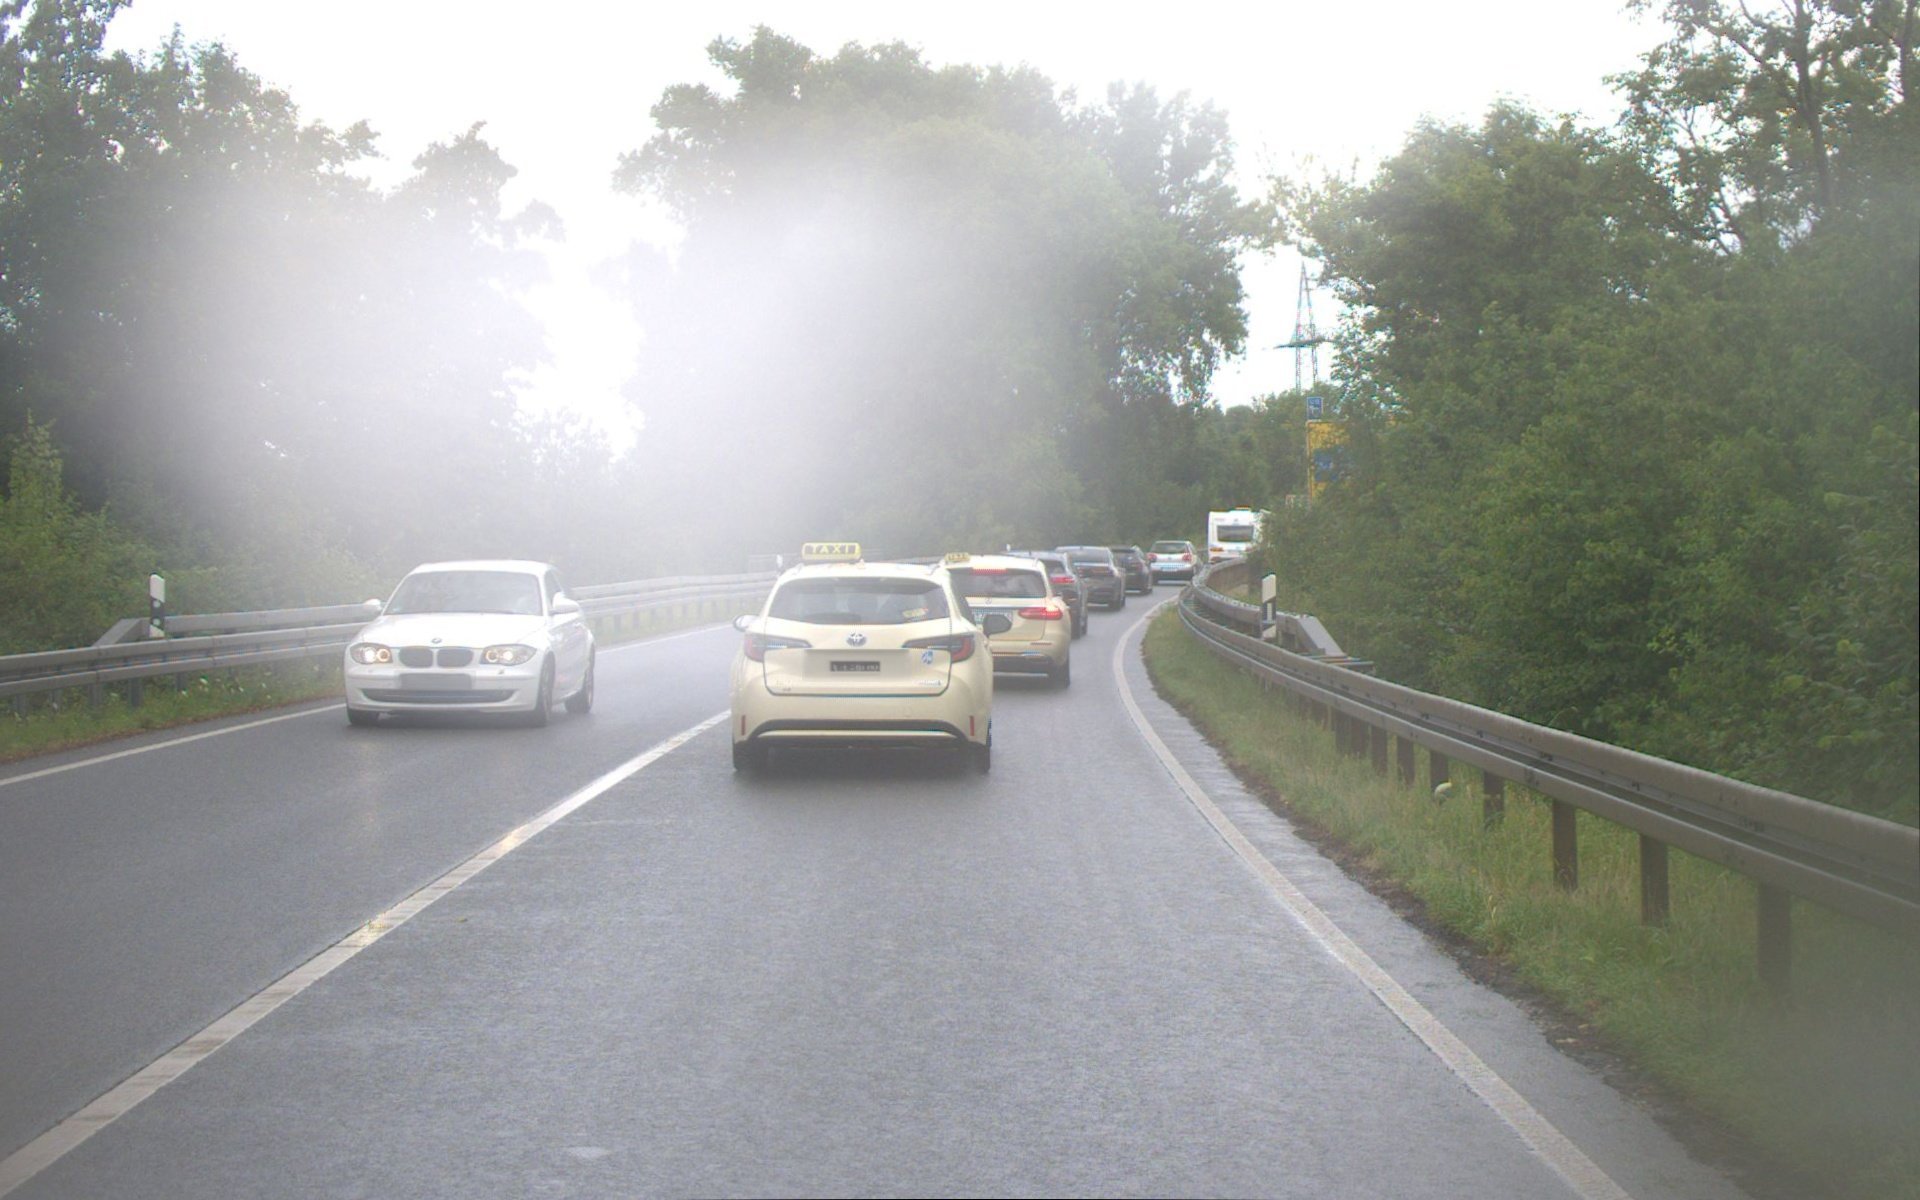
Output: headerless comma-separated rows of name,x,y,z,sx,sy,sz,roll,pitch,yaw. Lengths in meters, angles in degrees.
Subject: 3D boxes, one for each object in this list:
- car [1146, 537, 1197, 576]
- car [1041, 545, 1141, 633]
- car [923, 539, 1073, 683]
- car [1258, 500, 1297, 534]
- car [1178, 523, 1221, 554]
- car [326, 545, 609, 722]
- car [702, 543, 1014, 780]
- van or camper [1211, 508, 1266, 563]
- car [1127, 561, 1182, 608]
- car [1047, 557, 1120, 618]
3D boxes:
car,7.103,-1.461,115.163,1.483,1.304,3.476,0,1,7
car,2.267,-0.214,59.688,1.665,1.459,3.477,0,1,2
car,0.481,0.091,39.633,1.578,1.567,3.681,0,1,3
car,15.536,-4.031,168.017,1.647,1.580,3.682,1,1,8
car,9.502,-2.419,136.109,1.373,1.197,3.315,1,1,10
car,-4.289,0.244,30.510,1.815,1.449,4.047,0,1,2
car,-0.635,0.368,24.525,1.906,1.532,4.161,0,1,3
van or camper,11.628,-2.671,143.307,1.994,2.246,3.999,1,1,8
car,5.578,-0.462,98.440,1.483,1.304,3.476,0,1,5
car,2.897,-0.286,81.062,1.660,1.404,3.904,0,0,2
